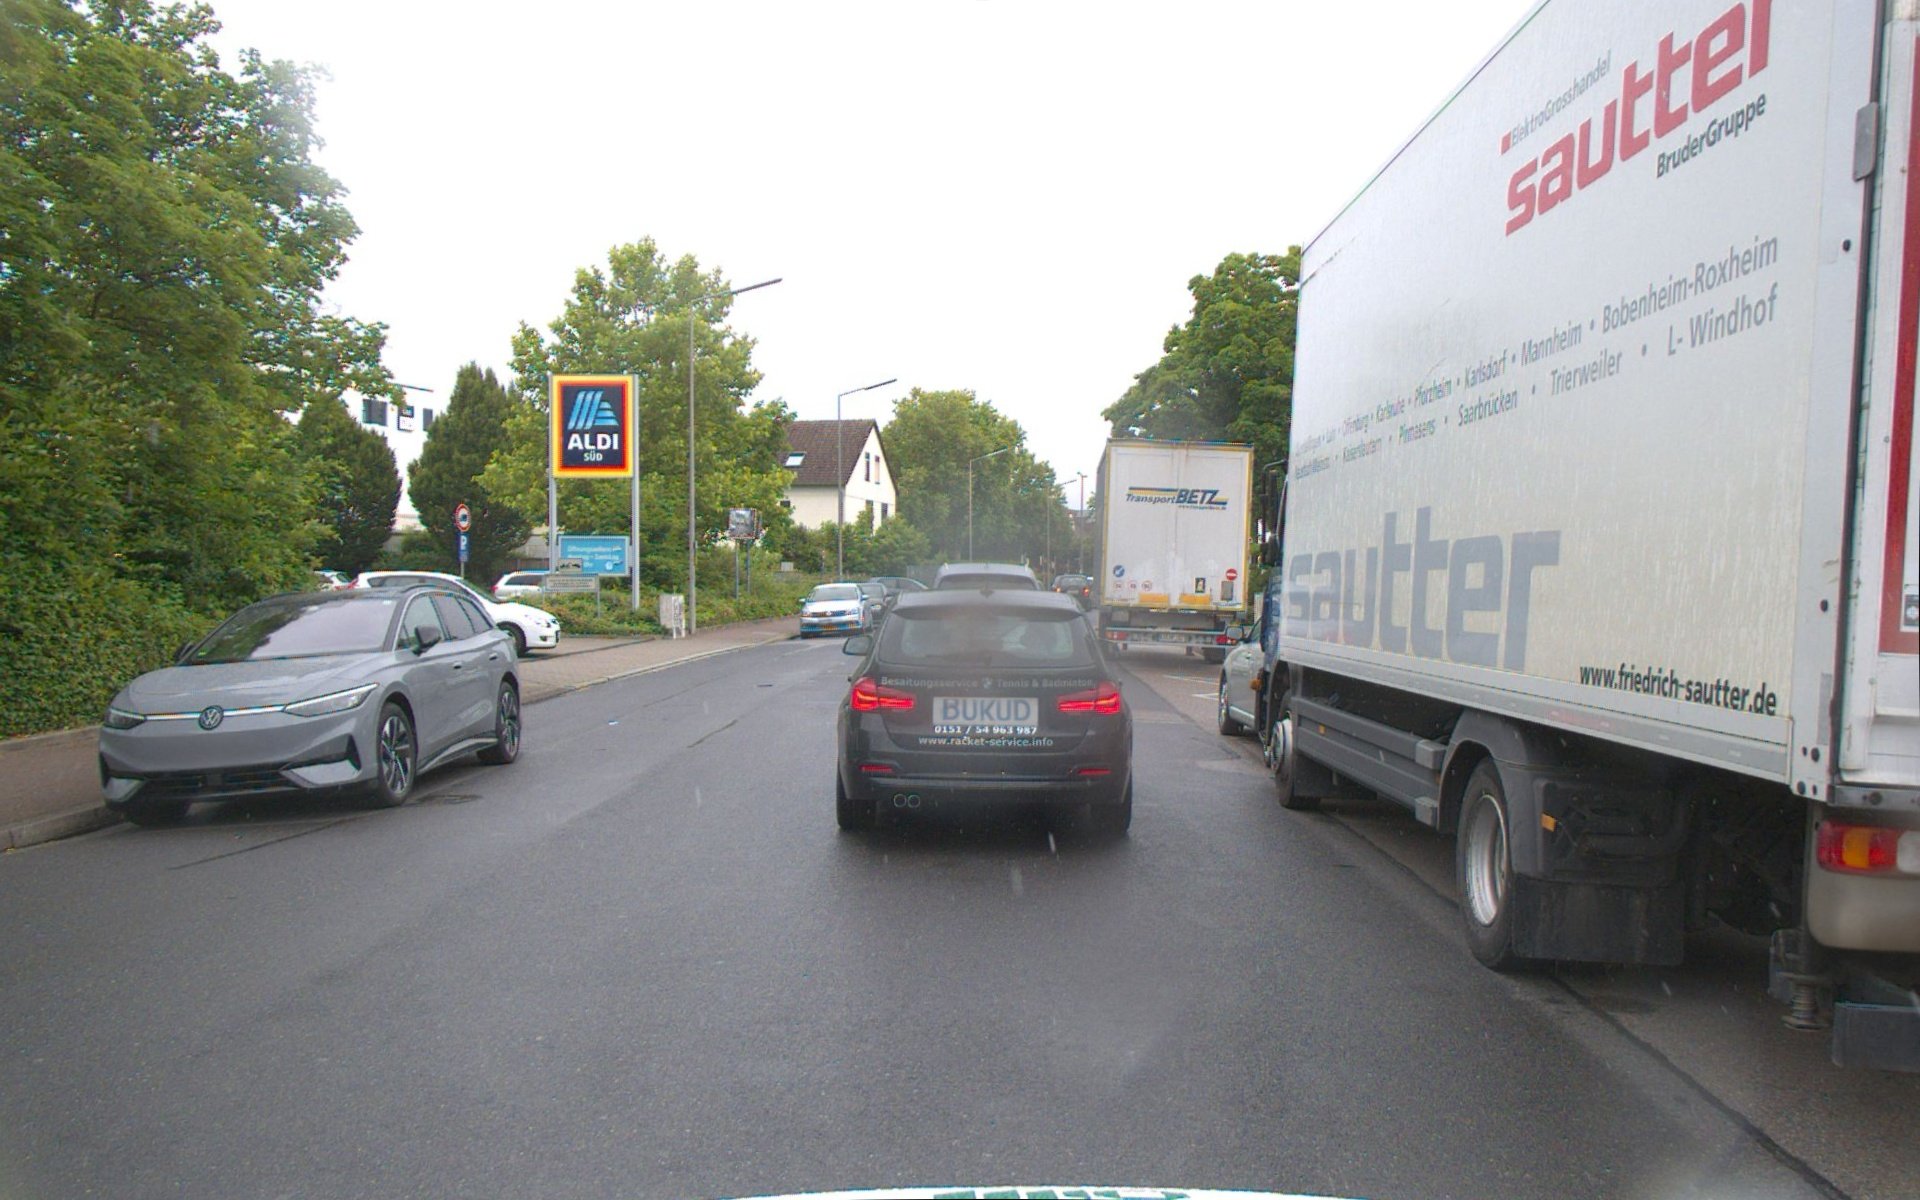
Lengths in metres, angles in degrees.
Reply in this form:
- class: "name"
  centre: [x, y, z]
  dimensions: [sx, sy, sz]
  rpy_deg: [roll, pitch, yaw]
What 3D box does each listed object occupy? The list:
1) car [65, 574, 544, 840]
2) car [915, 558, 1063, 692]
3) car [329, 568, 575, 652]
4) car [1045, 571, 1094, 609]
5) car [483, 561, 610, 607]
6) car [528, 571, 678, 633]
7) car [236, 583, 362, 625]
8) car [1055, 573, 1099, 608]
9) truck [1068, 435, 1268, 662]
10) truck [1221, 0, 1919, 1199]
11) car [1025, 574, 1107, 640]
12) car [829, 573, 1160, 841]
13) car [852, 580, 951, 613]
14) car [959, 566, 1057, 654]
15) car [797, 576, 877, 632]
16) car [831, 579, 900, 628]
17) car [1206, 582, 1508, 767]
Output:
- class: "car"
  centre: [-4.717, 0.645, 12.786]
  dimensions: [1.772, 1.555, 4.747]
  rpy_deg: [-4, 1, -1]
- class: "car"
  centre: [0.302, 0.288, 22.169]
  dimensions: [1.768, 1.614, 3.999]
  rpy_deg: [1, 0, -2]
- class: "car"
  centre: [-9.522, 0.179, 31.237]
  dimensions: [4.106, 1.485, 1.711]
  rpy_deg: [1, 1, -3]
- class: "car"
  centre: [4.907, -0.464, 73.895]
  dimensions: [1.766, 1.614, 4.003]
  rpy_deg: [1, 0, 9]
- class: "car"
  centre: [-14.323, -0.567, 57.446]
  dimensions: [3.904, 1.567, 1.911]
  rpy_deg: [0, 1, 1]
- class: "car"
  centre: [-9.384, 0.036, 43.659]
  dimensions: [3.496, 1.485, 1.713]
  rpy_deg: [2, 1, 1]
- class: "car"
  centre: [-24.763, 0.146, 62.082]
  dimensions: [3.904, 1.526, 2.001]
  rpy_deg: [0, 1, 2]
- class: "car"
  centre: [5.699, -0.476, 80.122]
  dimensions: [1.766, 1.614, 4.003]
  rpy_deg: [1, 0, 9]
- class: "truck"
  centre: [3.742, -0.923, 31.579]
  dimensions: [2.685, 3.673, 7.750]
  rpy_deg: [2, 1, 0]
- class: "truck"
  centre: [3.440, -0.466, 8.294]
  dimensions: [2.685, 3.855, 9.300]
  rpy_deg: [3, 1, 0]
- class: "car"
  centre: [2.883, 0.172, 45.898]
  dimensions: [1.953, 1.713, 3.999]
  rpy_deg: [1, 0, -1]
- class: "car"
  centre: [0.128, 0.562, 10.914]
  dimensions: [1.768, 1.419, 3.999]
  rpy_deg: [1, 0, -2]
- class: "car"
  centre: [-2.473, -0.152, 70.571]
  dimensions: [4.100, 1.386, 1.589]
  rpy_deg: [0, 1, 1]
- class: "car"
  centre: [0.895, 0.171, 32.853]
  dimensions: [1.767, 1.614, 4.000]
  rpy_deg: [1, 0, -1]
- class: "car"
  centre: [-3.352, 0.063, 45.836]
  dimensions: [1.670, 1.391, 4.603]
  rpy_deg: [-2, 1, 2]
- class: "car"
  centre: [-2.929, 0.077, 51.816]
  dimensions: [1.670, 1.391, 3.840]
  rpy_deg: [-2, 1, 3]
- class: "car"
  centre: [3.515, 0.575, 15.462]
  dimensions: [1.761, 1.466, 4.345]
  rpy_deg: [0, 1, 0]
